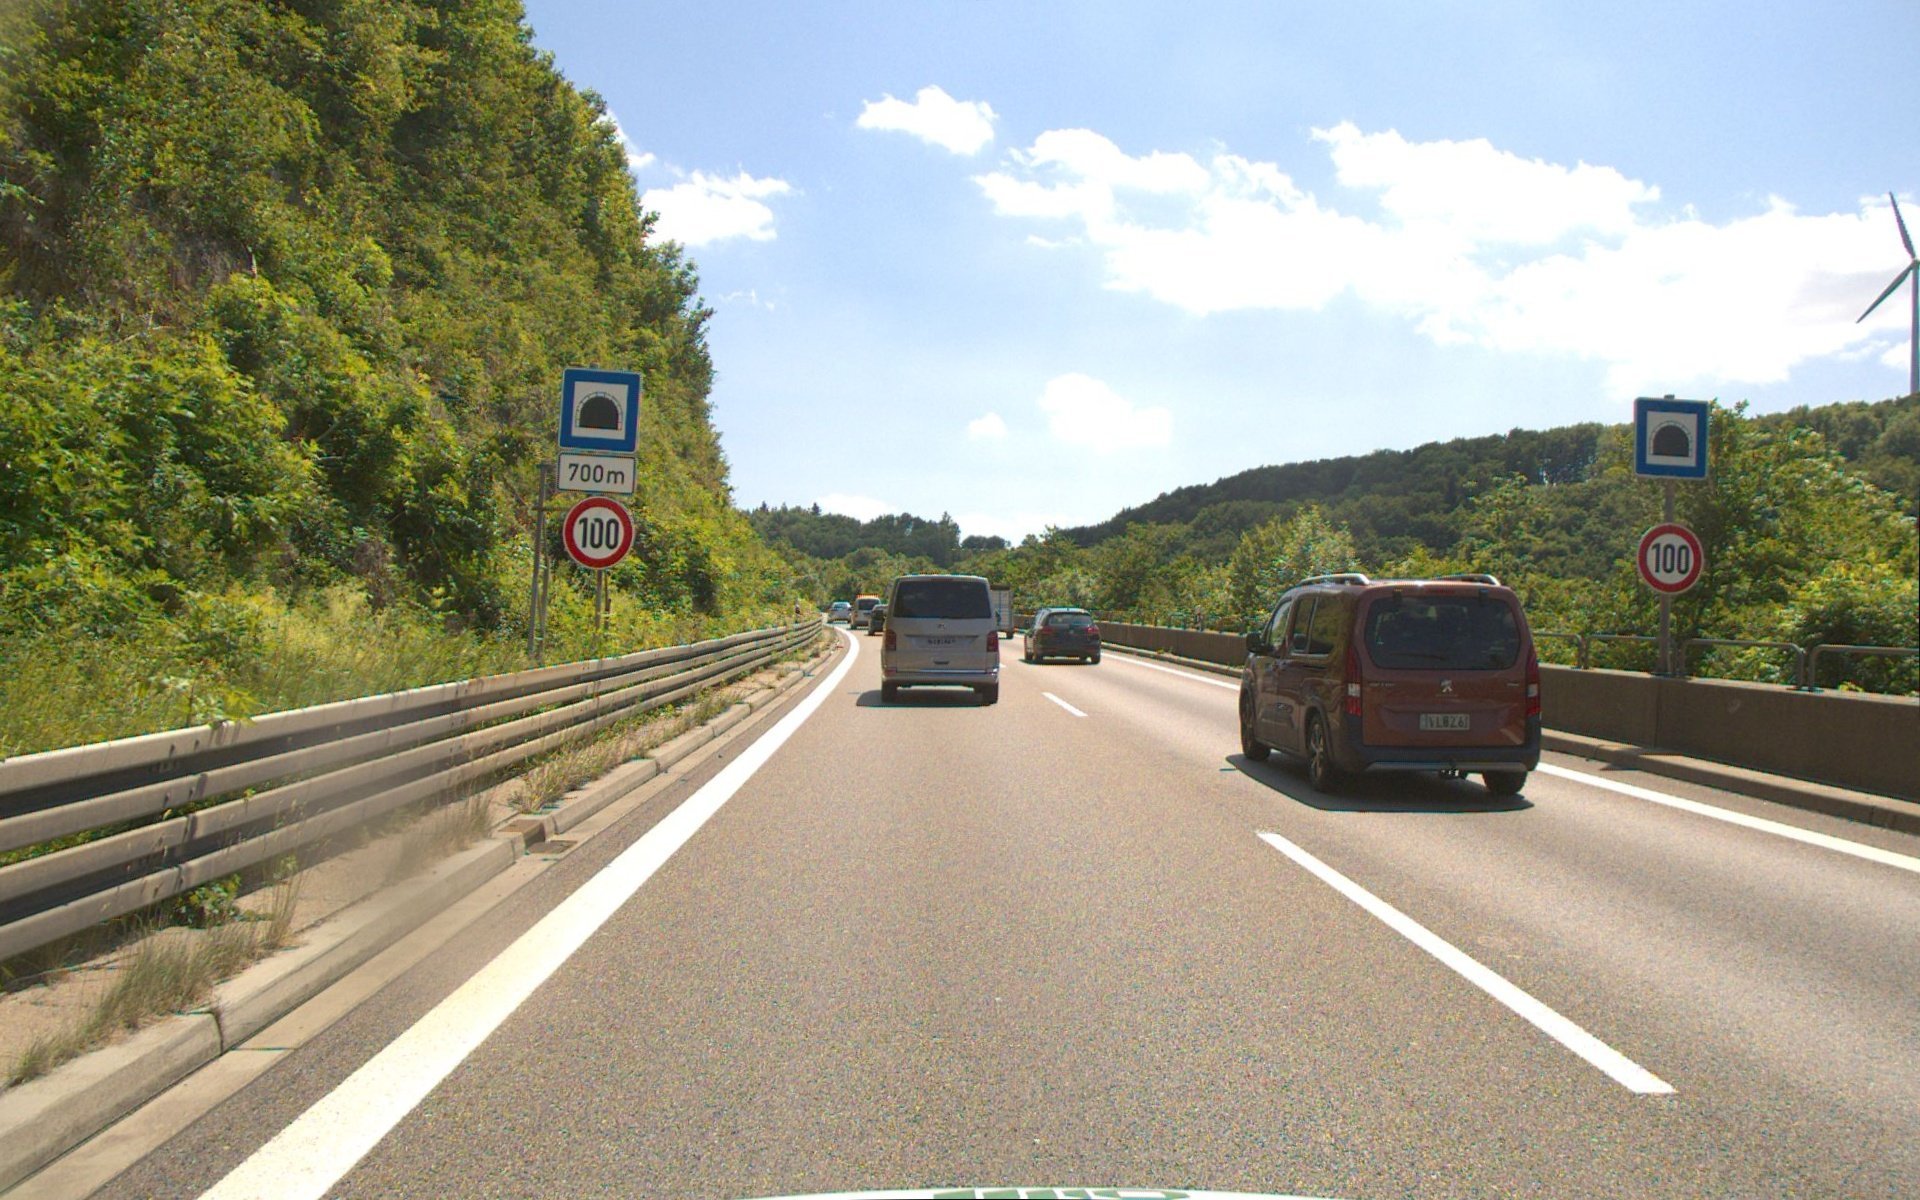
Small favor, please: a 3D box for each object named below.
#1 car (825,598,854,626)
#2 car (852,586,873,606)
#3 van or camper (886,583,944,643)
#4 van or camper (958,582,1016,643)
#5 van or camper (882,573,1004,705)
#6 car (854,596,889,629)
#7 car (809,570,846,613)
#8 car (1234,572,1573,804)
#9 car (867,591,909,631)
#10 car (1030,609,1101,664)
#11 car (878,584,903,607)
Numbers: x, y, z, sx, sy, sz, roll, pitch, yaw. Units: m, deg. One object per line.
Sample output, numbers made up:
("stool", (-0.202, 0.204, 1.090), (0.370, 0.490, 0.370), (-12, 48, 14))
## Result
("car", (-8.486, 0.829, 116.528), (1.955, 1.948, 3.996), (1, 0, -5))
("car", (-9.882, -0.399, 167.135), (1.954, 2.049, 3.996), (1, 0, -5))
("van or camper", (-3.150, 0.862, 113.008), (3.214, 3.855, 8.099), (1, 0, -7))
("van or camper", (1.182, 0.558, 74.649), (2.219, 2.596, 4.732), (-1, 0, -4))
("van or camper", (-0.358, 0.598, 27.158), (1.838, 1.984, 4.291), (0, 0, -3))
("car", (-5.048, 0.709, 94.923), (1.953, 1.849, 3.998), (1, 0, -2))
("car", (-15.877, -0.949, 196.860), (3.966, 4.957, 10.094), (1, 0, -7))
("car", (3.877, 0.717, 15.336), (1.796, 1.815, 4.674), (0, -1, -1))
("car", (-3.447, 0.530, 79.200), (1.953, 1.849, 3.998), (1, 0, -2))
("car", (2.832, 0.964, 45.030), (1.732, 1.400, 3.593), (1, 0, 1))
("car", (-6.388, -0.441, 151.936), (1.955, 2.049, 3.994), (1, 0, -7))
